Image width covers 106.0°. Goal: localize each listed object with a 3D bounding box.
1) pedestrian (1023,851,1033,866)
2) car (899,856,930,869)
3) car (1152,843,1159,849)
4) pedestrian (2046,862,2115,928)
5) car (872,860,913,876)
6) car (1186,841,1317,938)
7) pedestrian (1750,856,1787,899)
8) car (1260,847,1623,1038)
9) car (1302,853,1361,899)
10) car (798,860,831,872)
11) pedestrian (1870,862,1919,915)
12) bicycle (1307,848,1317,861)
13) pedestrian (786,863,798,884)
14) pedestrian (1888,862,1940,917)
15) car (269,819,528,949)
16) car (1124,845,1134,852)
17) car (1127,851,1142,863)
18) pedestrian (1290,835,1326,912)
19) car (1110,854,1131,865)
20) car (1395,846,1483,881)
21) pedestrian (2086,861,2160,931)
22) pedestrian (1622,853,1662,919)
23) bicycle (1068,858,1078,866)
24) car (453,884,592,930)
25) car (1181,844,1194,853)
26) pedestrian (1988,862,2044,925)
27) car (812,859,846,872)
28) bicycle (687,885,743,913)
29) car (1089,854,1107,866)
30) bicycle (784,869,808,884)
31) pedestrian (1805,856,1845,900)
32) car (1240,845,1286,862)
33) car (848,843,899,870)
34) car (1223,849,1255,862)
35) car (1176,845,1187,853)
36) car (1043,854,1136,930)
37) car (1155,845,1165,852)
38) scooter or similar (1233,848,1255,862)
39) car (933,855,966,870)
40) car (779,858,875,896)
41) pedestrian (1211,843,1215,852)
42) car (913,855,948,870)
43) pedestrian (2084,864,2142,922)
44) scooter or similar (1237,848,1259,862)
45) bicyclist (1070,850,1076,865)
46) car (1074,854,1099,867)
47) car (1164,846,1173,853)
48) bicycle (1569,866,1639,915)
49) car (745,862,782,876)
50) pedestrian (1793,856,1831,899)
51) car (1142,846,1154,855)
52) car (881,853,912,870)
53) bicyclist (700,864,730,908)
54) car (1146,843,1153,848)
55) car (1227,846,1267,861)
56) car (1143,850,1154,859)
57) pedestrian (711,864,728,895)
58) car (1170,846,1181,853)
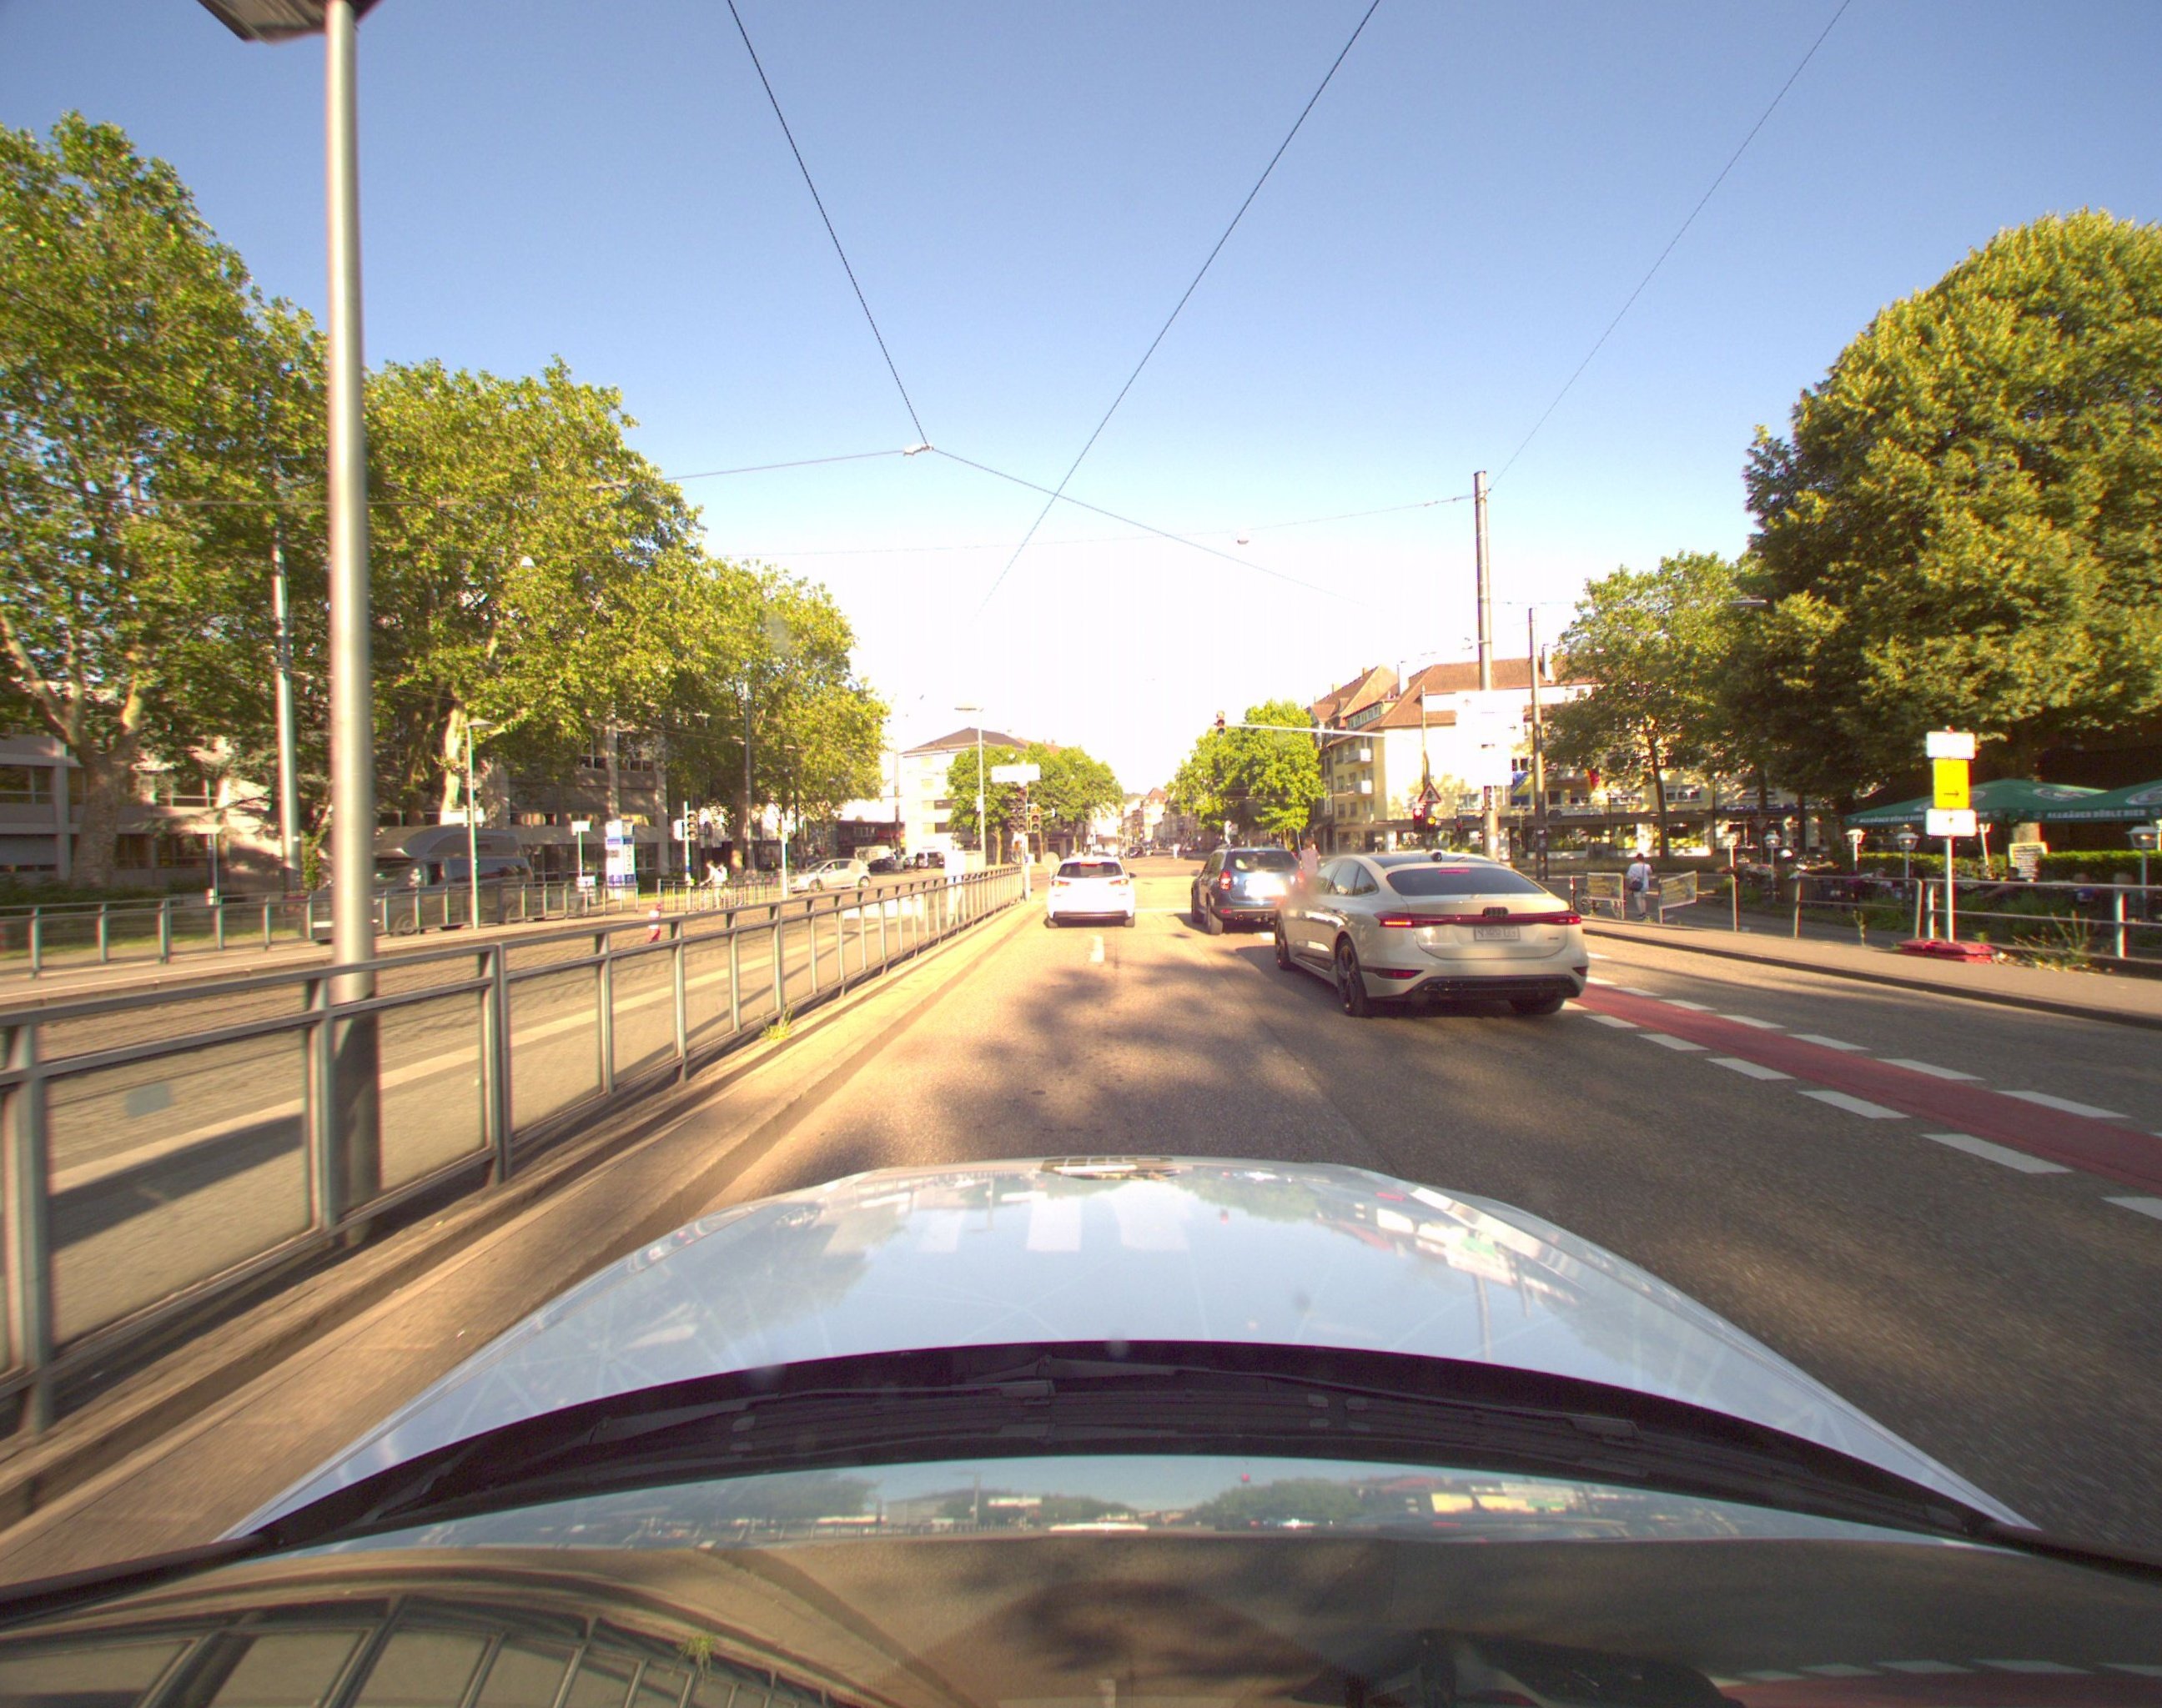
[{"bbox_3d":[-6.402,0.512,97.970,0.828,1.771,0.787,-2,0,27],"label":"pedestrian"},{"bbox_3d":[-20.189,0.995,99.095,1.779,1.510,4.031,-2,0,20],"label":"car"},{"bbox_3d":[20.519,-2.166,224.522,1.787,1.510,4.001,-2,0,1],"label":"car"},{"bbox_3d":[20.909,0.837,17.047,0.645,1.338,0.632,1,0,2],"label":"pedestrian"},{"bbox_3d":[-20.027,1.484,86.593,3.952,1.510,1.810,-1,0,22],"label":"car"},{"bbox_3d":[3.198,0.608,16.048,1.794,1.638,4.046,-1,0,1],"label":"car"},{"bbox_3d":[21.944,0.744,25.991,0.645,1.338,0.632,1,0,2],"label":"pedestrian"},{"bbox_3d":[3.377,0.693,8.866,1.922,1.472,4.857,-1,0,2],"label":"car"},{"bbox_3d":[8.691,0.697,28.033,1.785,1.439,4.065,0,0,19],"label":"car"},{"bbox_3d":[-34.731,1.534,106.167,1.778,1.510,4.023,-2,0,25],"label":"car"},{"bbox_3d":[21.284,0.888,21.316,0.645,1.338,0.632,1,0,2],"label":"pedestrian"},{"bbox_3d":[20.860,0.034,73.530,0.606,1.107,1.803,-1,0,6],"label":"bicycle"},{"bbox_3d":[-23.153,1.538,65.175,0.645,1.661,0.651,-2,0,4],"label":"pedestrian"},{"bbox_3d":[20.846,0.880,20.401,0.645,1.338,0.632,1,0,2],"label":"pedestrian"},{"bbox_3d":[-16.187,0.667,19.808,2.061,2.743,5.029,-1,-1,0],"label":"car"},{"bbox_3d":[9.632,-1.097,163.596,1.788,1.510,4.000,-2,0,1],"label":"car"},{"bbox_3d":[8.295,0.429,126.065,1.782,1.826,4.013,-2,0,12],"label":"car"},{"bbox_3d":[5.612,0.475,20.156,0.654,1.871,0.678,-2,0,1],"label":"pedestrian"},{"bbox_3d":[5.781,0.838,118.683,1.779,1.510,4.020,-2,-1,21],"label":"car"},{"bbox_3d":[17.275,0.415,39.299,4.010,1.510,1.784,-2,1,-28],"label":"car"},{"bbox_3d":[20.738,0.828,16.219,0.645,1.338,0.632,1,0,2],"label":"pedestrian"},{"bbox_3d":[13.548,0.755,19.674,0.642,1.563,0.635,1,0,20],"label":"pedestrian"},{"bbox_3d":[-0.934,1.010,100.405,0.463,0.956,1.777,-2,0,25],"label":"bicycle"},{"bbox_3d":[-16.190,1.503,23.787,2.061,1.162,2.911,-1,-1,-1],"label":"car"},{"bbox_3d":[21.210,-1.147,162.043,2.097,1.776,4.343,-2,0,1],"label":"car"},{"bbox_3d":[20.625,0.852,17.977,0.642,1.338,0.636,1,0,32],"label":"pedestrian"},{"bbox_3d":[-32.379,1.488,104.744,1.778,1.510,4.023,-2,0,25],"label":"car"},{"bbox_3d":[-12.036,1.459,26.818,1.622,0.816,0.522,-2,0,-33],"label":"bicycle"},{"bbox_3d":[2.337,0.826,110.668,1.784,1.510,4.010,-2,-1,9],"label":"car"},{"bbox_3d":[-22.960,1.808,65.648,1.786,1.107,0.501,-2,0,4],"label":"bicycle"},{"bbox_3d":[22.832,0.723,25.003,0.645,1.338,0.632,1,0,2],"label":"pedestrian"},{"bbox_3d":[17.740,-0.029,79.577,3.983,1.510,1.796,-2,0,-7],"label":"car"},{"bbox_3d":[-25.683,0.312,101.094,2.473,3.165,6.573,-2,0,25],"label":"car"},{"bbox_3d":[20.246,0.192,104.217,4.021,1.510,1.779,-2,0,-40],"label":"car"},{"bbox_3d":[20.728,-1.005,168.586,1.787,1.510,4.001,-2,0,1],"label":"car"},{"bbox_3d":[0.220,0.750,17.971,1.802,1.452,4.001,-1,0,1],"label":"car"},{"bbox_3d":[21.306,-1.452,219.029,2.318,2.013,4.978,-2,0,1],"label":"car"},{"bbox_3d":[14.733,0.108,73.575,1.926,1.280,0.557,-2,0,43],"label":"scooter or similar"},{"bbox_3d":[-15.476,0.975,96.258,1.904,1.649,4.203,-2,0,22],"label":"car"},{"bbox_3d":[-12.376,1.075,39.934,1.798,1.692,4.187,-1,0,38],"label":"car"},{"bbox_3d":[24.880,-1.190,153.396,0.643,1.651,0.652,-1,-1,12],"label":"pedestrian"},{"bbox_3d":[-17.897,1.051,97.023,1.777,1.649,4.035,-2,0,31],"label":"car"},{"bbox_3d":[23.235,0.872,18.342,0.631,1.261,0.613,1,0,-16],"label":"pedestrian"},{"bbox_3d":[15.214,0.111,74.114,1.926,1.280,0.557,-2,0,43],"label":"scooter or similar"},{"bbox_3d":[-0.948,0.443,100.410,0.463,1.745,0.721,-2,0,25],"label":"bicyclist"},{"bbox_3d":[0.745,0.850,104.742,1.707,1.510,3.899,-2,-1,26],"label":"car"},{"bbox_3d":[20.801,-1.061,194.001,1.787,1.522,4.001,-2,0,1],"label":"car"},{"bbox_3d":[12.078,0.827,18.867,0.496,1.075,1.801,-1,-1,2],"label":"bicycle"},{"bbox_3d":[-38.127,1.813,97.844,3.952,1.510,1.810,-1,0,23],"label":"car"},{"bbox_3d":[23.243,0.731,25.909,0.645,1.338,0.632,1,0,2],"label":"pedestrian"},{"bbox_3d":[11.623,-0.607,140.618,1.788,1.510,4.000,-2,0,1],"label":"car"},{"bbox_3d":[-22.654,0.859,100.055,1.779,1.955,4.021,-2,0,20],"label":"car"},{"bbox_3d":[-12.046,1.036,26.819,0.806,1.414,0.522,-1,0,-33],"label":"bicyclist"},{"bbox_3d":[20.663,-2.473,244.363,1.787,1.510,4.001,-2,0,1],"label":"car"},{"bbox_3d":[18.331,-0.057,90.042,3.979,1.510,1.797,-2,0,-4],"label":"car"},{"bbox_3d":[12.332,0.098,148.601,1.788,1.510,4.000,-2,0,1],"label":"car"},{"bbox_3d":[-18.772,1.314,42.310,0.533,1.552,0.677,-2,0,1],"label":"pedestrian"},{"bbox_3d":[20.251,-1.015,174.763,1.787,1.510,4.001,-2,0,1],"label":"car"}]
